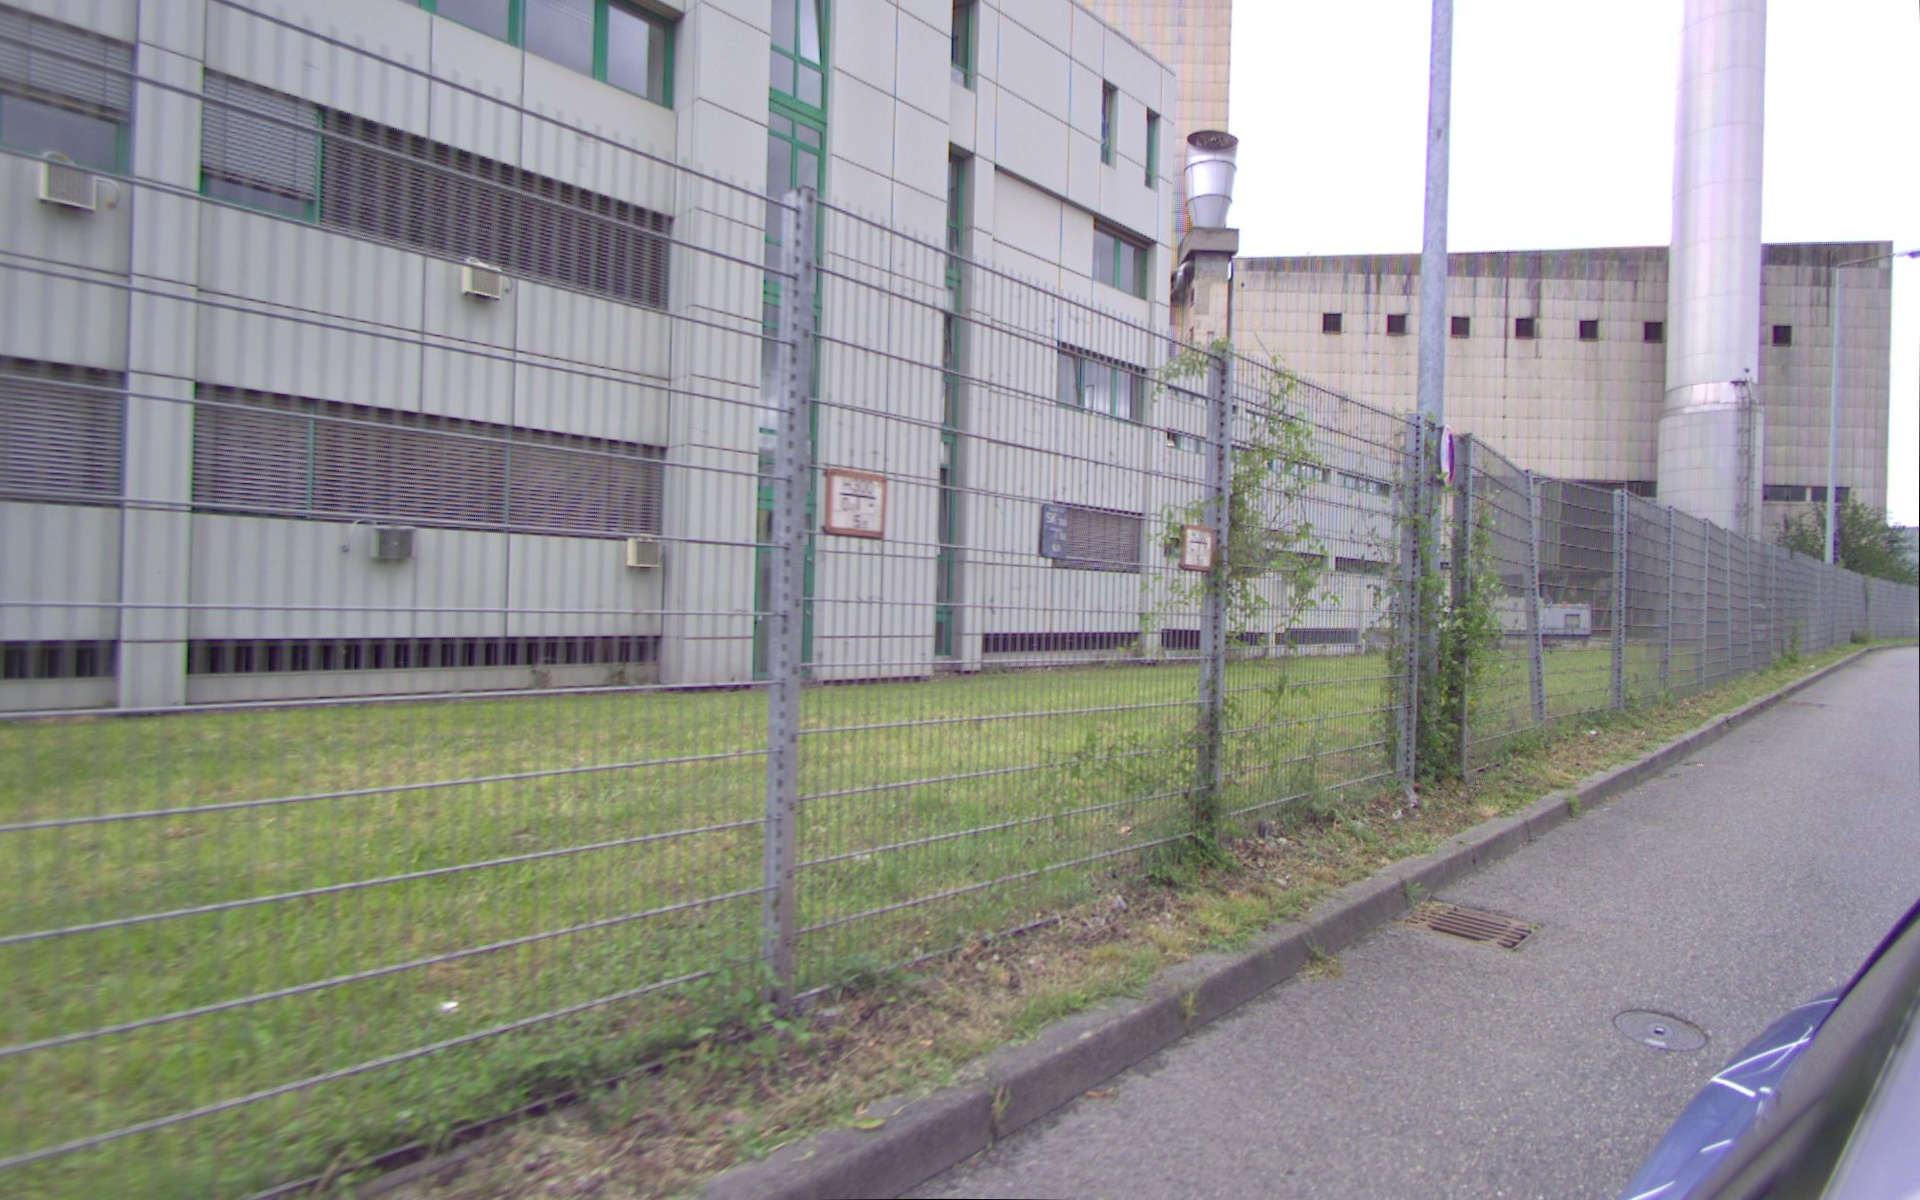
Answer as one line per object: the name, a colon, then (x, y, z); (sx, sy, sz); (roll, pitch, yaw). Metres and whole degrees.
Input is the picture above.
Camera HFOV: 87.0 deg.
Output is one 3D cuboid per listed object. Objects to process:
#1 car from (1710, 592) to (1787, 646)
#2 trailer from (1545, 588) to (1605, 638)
car: (43.600, 1.093, 56.090); (2.405, 2.798, 5.399); (0, -3, 28)
trailer: (33.578, 0.700, 55.349); (2.643, 2.576, 6.361); (0, -1, 31)
